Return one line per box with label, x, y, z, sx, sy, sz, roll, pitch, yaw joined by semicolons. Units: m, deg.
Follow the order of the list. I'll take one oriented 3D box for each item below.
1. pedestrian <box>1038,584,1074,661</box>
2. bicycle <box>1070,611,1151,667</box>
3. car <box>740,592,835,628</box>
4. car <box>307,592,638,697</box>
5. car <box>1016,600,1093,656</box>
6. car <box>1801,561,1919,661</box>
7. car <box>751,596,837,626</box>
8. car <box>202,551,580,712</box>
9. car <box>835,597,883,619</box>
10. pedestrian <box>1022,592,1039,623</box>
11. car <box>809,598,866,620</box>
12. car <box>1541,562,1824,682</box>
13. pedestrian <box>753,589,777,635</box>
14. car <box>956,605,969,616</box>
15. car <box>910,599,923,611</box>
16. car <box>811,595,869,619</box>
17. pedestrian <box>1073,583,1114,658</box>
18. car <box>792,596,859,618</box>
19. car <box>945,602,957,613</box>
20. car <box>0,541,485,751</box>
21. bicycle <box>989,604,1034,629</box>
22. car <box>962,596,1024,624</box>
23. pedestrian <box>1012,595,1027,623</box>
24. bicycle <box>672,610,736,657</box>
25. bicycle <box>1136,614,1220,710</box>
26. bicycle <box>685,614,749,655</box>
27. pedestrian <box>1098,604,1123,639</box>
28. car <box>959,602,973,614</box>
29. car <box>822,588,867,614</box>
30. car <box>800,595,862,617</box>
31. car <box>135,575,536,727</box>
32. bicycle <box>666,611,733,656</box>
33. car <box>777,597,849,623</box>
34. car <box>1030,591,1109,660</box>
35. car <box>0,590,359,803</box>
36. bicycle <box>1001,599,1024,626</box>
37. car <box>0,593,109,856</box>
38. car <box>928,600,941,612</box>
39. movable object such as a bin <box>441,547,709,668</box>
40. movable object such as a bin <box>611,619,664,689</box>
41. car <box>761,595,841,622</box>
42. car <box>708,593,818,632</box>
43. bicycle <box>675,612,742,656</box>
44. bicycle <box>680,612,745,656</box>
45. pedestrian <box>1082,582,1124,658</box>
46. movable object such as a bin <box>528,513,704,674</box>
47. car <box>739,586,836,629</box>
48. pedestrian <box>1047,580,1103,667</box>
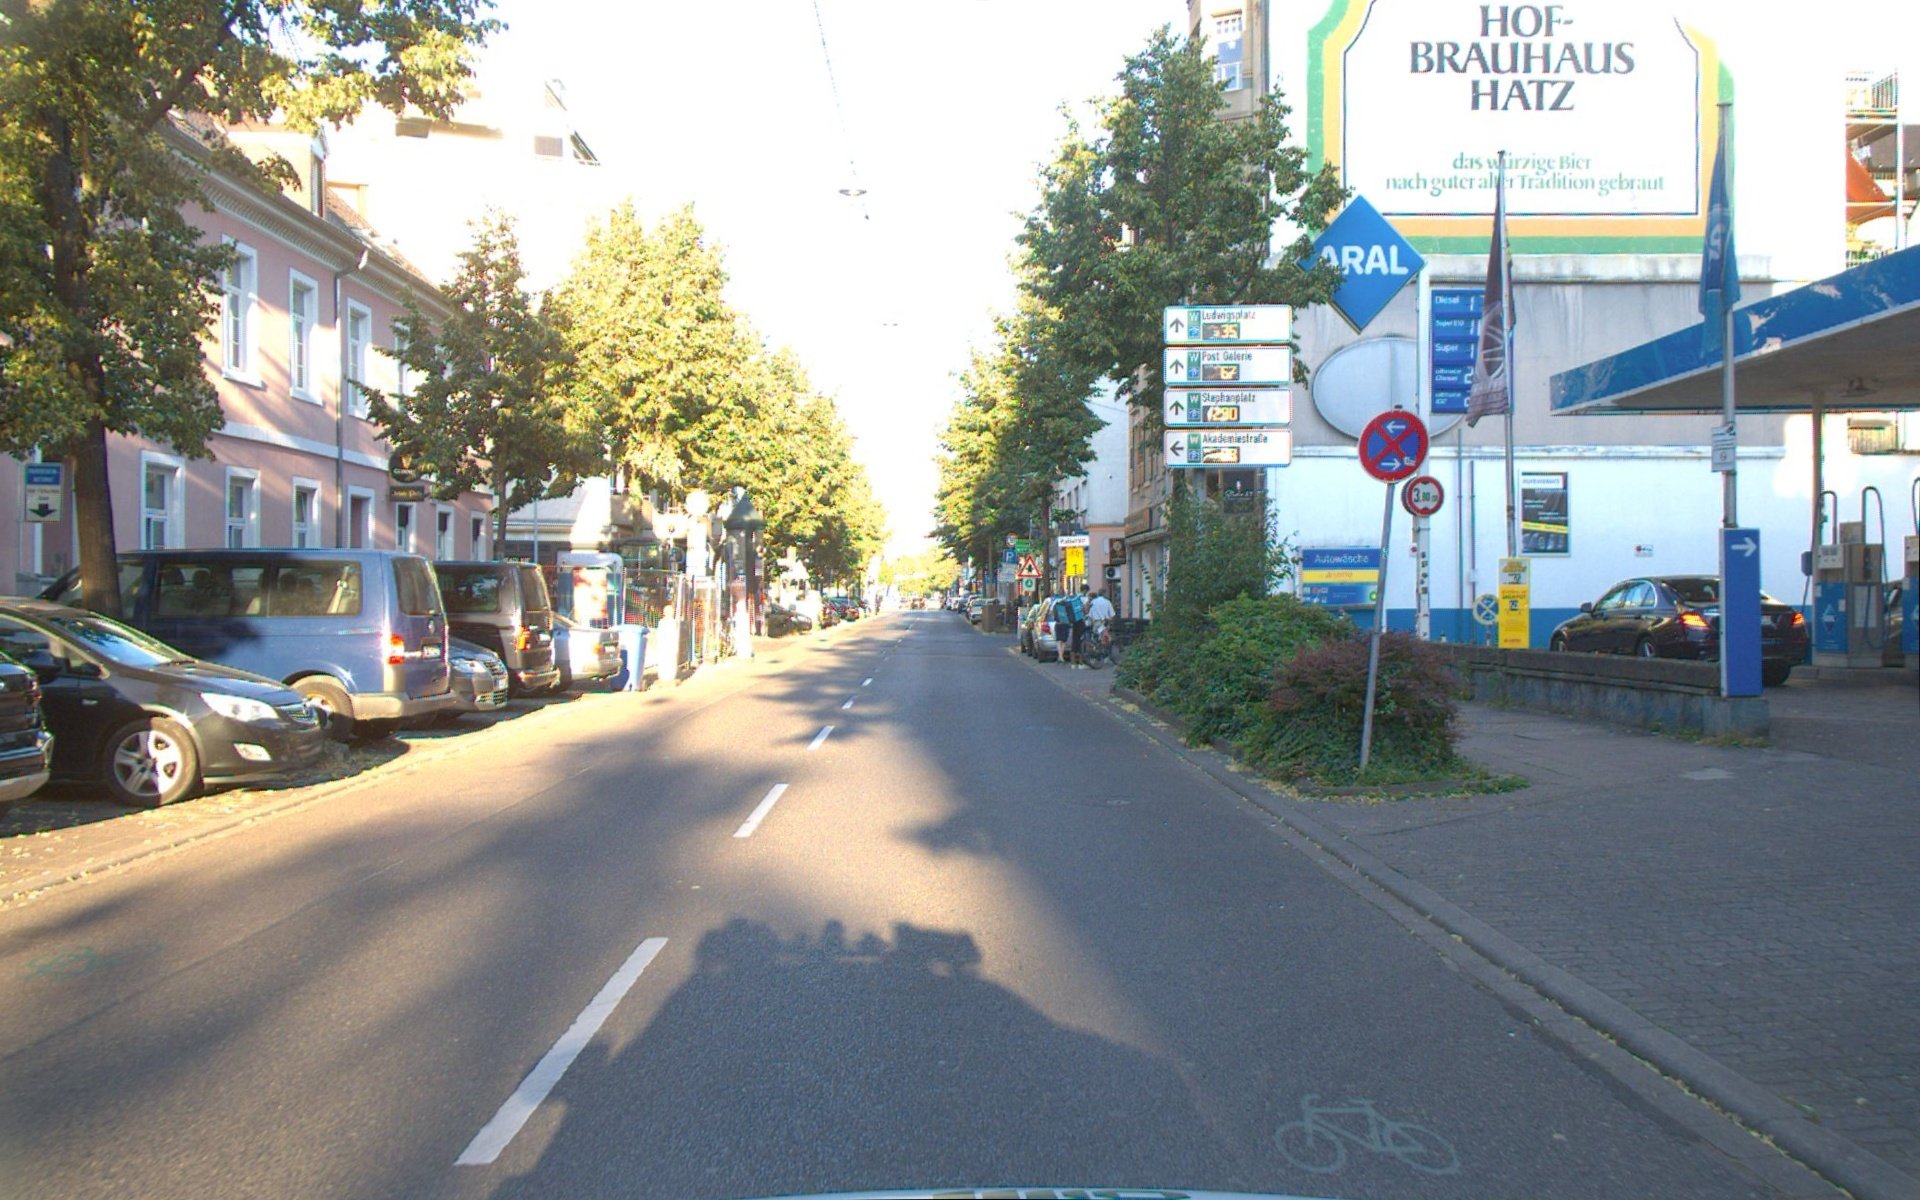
pedestrian;2.267;0.534;39.142;0.665;1.785;0.823;-1;0;-11
bicycle;3.310;0.853;36.210;0.850;1.118;1.918;-2;1;37
car;-8.598;0.487;82.641;4.478;1.727;2.060;1;0;-1
car;-7.430;0.650;25.495;4.499;1.495;1.893;1;0;2
car;2.607;0.742;46.590;1.749;1.399;4.522;-3;0;-1
car;14.564;0.152;24.516;1.675;1.426;4.757;-1;-1;-1
car;-8.778;0.593;87.633;4.351;1.533;1.844;1;0;-1
car;-7.537;0.409;22.280;4.394;2.010;1.964;1;0;-3
car;-9.491;0.728;155.486;4.351;1.994;1.919;0;0;-1
pedestrian;4.508;0.473;105.766;0.900;1.959;1.015;1;0;-11
car;-9.312;0.674;125.993;4.216;1.626;1.919;1;0;-1
car;9.905;0.312;23.153;1.699;1.456;4.907;-1;-1;-1
pedestrian;-7.349;0.437;62.332;0.695;1.716;0.834;0;0;8
car;0.306;1.239;196.280;1.482;1.285;3.303;0;0;0
car;-6.138;0.729;233.800;1.716;1.567;3.303;0;0;0
car;-9.267;0.572;128.097;4.351;1.790;1.919;1;0;-1
pedestrian;3.177;0.474;39.367;0.666;1.735;0.822;-3;0;-15
car;-8.973;0.468;110.729;4.351;1.474;1.919;1;0;-1
car;-1.211;1.004;219.055;1.482;1.321;3.303;0;0;0
car;-7.405;0.443;17.063;4.392;2.010;2.068;0;0;-1
bicycle;2.283;0.711;73.896;1.918;1.092;0.704;0;0;31
car;2.010;0.609;98.707;1.645;1.616;3.801;1;0;41
pedestrian;2.955;0.452;81.936;0.711;1.402;0.781;0;0;-1
bicycle;-6.586;0.859;42.566;1.530;1.136;0.439;3;-2;-34
bicycle;2.899;0.807;21.897;0.473;1.163;1.678;-3;0;29
bicycle;-6.659;0.936;45.357;1.647;1.039;0.445;2;-1;7
pedestrian;5.045;0.729;55.667;0.668;1.161;1.360;-1;-2;-1
car;0.623;0.840;178.125;1.482;1.298;3.303;0;0;0
car;-11.586;0.106;165.504;4.351;2.477;1.919;0;0;-1
car;-9.482;0.462;121.592;4.351;1.549;1.919;1;0;-1
car;-7.332;0.575;19.730;4.045;1.665;1.860;1;0;-1
bicycle;-6.844;0.889;43.451;1.649;1.097;0.444;3;-1;-2
car;-9.226;0.615;104.149;4.351;1.595;1.919;1;0;-1
car;2.752;0.612;42.239;1.652;1.602;4.012;-3;0;-1
car;-7.140;0.702;12.913;4.243;1.527;1.840;1;0;-6
bicycle;2.403;0.571;75.360;0.585;1.198;1.847;0;0;18
car;-7.511;0.708;9.886;3.842;1.527;1.905;1;0;1
car;-3.447;0.792;221.616;1.685;1.501;3.303;0;0;0
movable object such as a bin;-8.654;0.160;37.647;2.272;2.539;5.720;0;0;42
movable object such as a bin;-5.372;0.891;27.558;0.675;1.124;0.883;-1;0;1
car;-9.072;0.505;94.504;4.351;1.484;1.859;1;0;-1
car;-8.240;0.536;69.468;4.455;1.568;1.810;1;0;-2
bicycle;-6.698;0.900;44.046;1.647;1.097;0.445;2;-1;7
bicycle;-6.680;0.911;44.632;1.647;1.097;0.445;2;-1;7
pedestrian;3.347;0.469;38.762;0.657;1.730;0.648;-3;0;45
movable object such as a bin;-6.860;-0.133;33.701;2.571;3.021;5.302;0;0;-1
car;-8.285;0.377;79.842;4.479;1.996;1.990;1;0;-1
pedestrian;2.511;0.508;36.279;0.995;1.857;0.778;-3;0;-11
